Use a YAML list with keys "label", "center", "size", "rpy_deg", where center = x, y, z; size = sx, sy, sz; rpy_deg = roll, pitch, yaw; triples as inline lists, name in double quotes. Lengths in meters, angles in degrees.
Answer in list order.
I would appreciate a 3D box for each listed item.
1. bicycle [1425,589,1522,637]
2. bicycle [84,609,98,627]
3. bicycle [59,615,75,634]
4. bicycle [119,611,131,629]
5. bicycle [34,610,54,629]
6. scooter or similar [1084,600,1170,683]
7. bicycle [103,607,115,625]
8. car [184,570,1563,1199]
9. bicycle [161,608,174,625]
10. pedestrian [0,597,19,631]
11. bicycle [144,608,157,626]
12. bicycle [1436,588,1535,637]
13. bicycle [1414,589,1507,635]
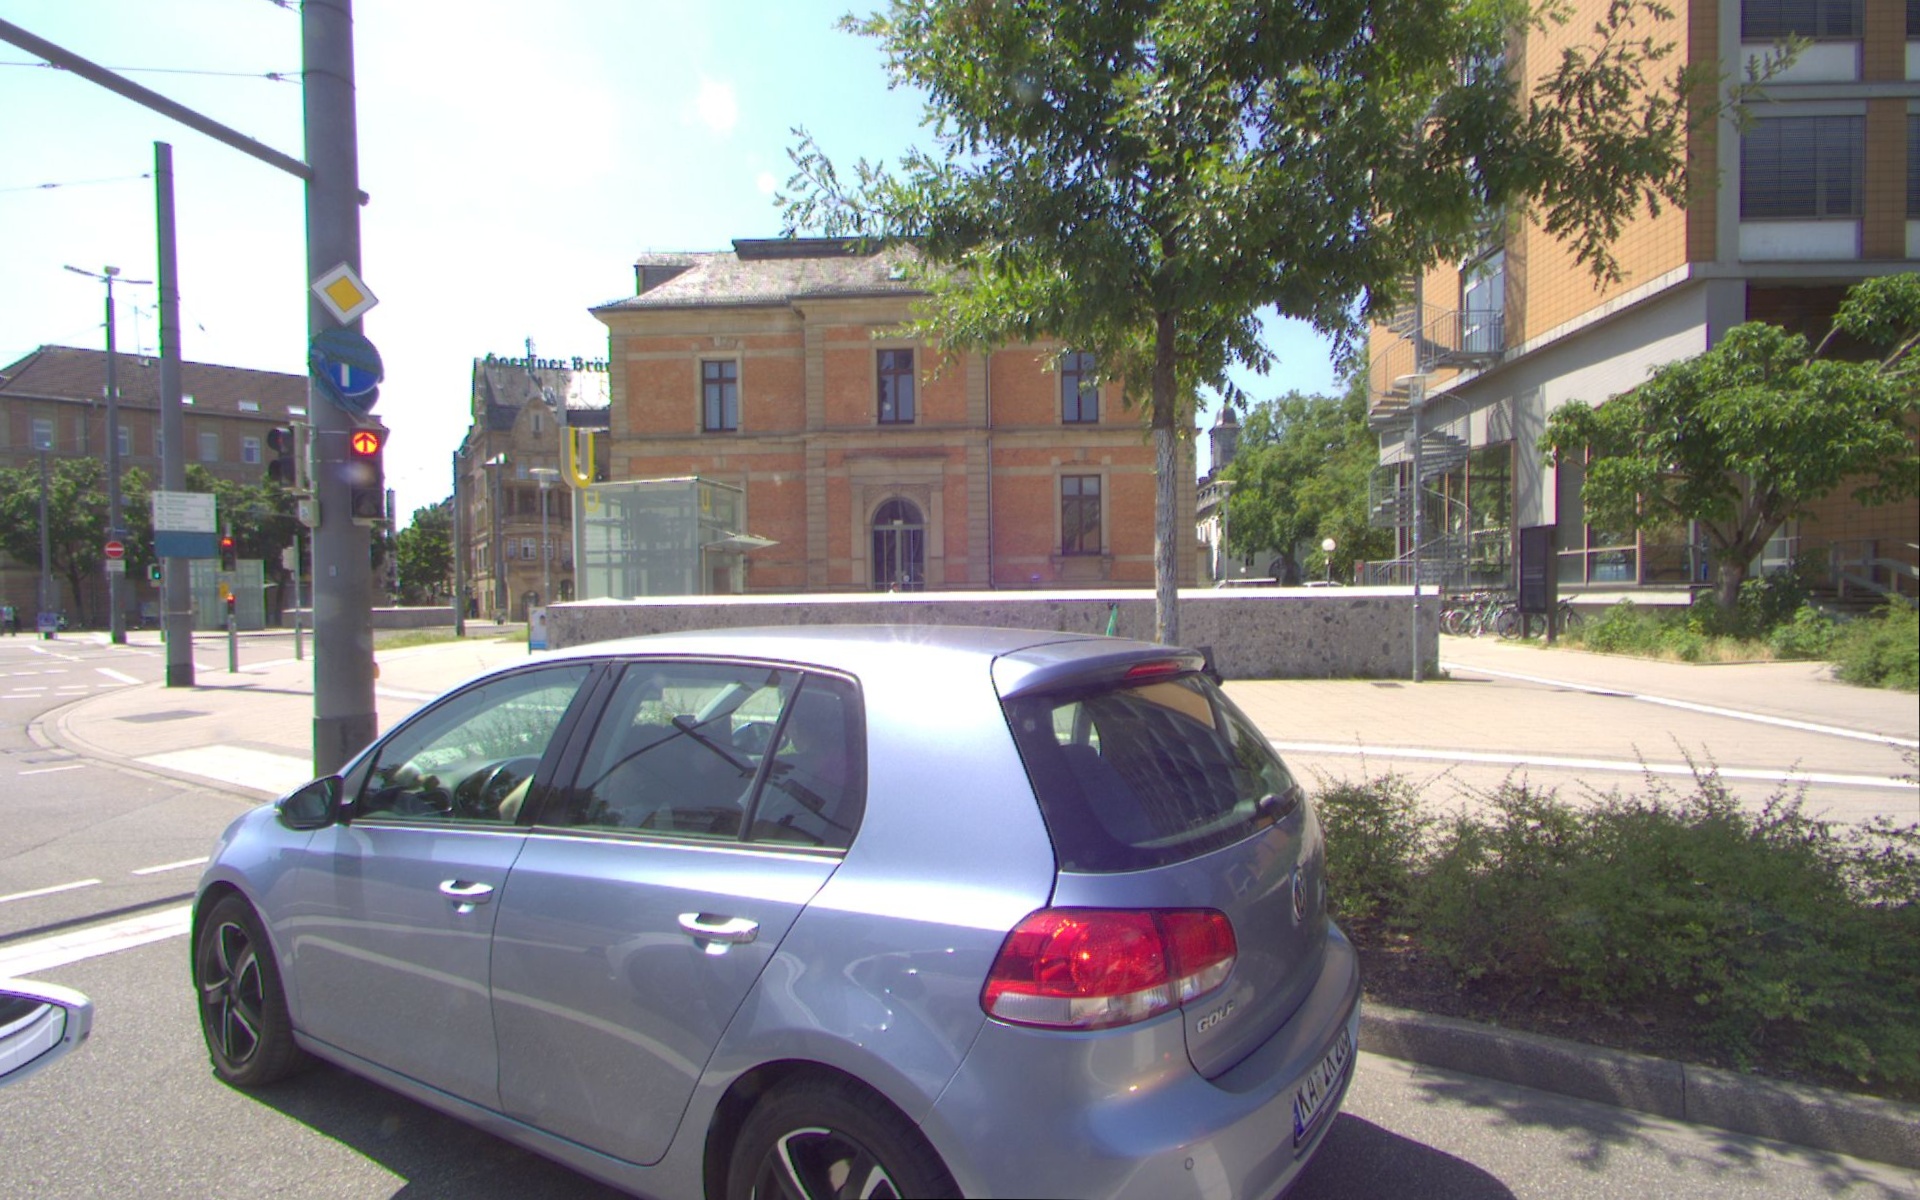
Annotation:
- label: "bicycle"
  center: [13.546, 0.356, 26.462]
  size: [2.175, 1.234, 0.637]
  rpy_deg: [0, -1, 5]
- label: "bicycle"
  center: [-54.127, 1.118, 62.387]
  size: [0.547, 1.135, 1.802]
  rpy_deg: [-1, 1, -44]
- label: "bicycle"
  center: [-55.149, 1.507, 61.846]
  size: [2.069, 1.160, 0.440]
  rpy_deg: [-2, -2, 39]
- label: "bicycle"
  center: [-52.955, 1.258, 63.510]
  size: [0.547, 1.135, 1.872]
  rpy_deg: [-1, 1, -41]
- label: "bicycle"
  center: [-55.399, 1.148, 60.557]
  size: [1.796, 1.135, 0.549]
  rpy_deg: [0, 1, 37]
- label: "scooter or similar"
  center: [2.466, 0.601, 14.756]
  size: [1.227, 1.186, 0.458]
  rpy_deg: [0, 1, 13]
- label: "bicycle"
  center: [-53.496, 1.002, 62.916]
  size: [0.547, 1.135, 1.804]
  rpy_deg: [-1, 1, -41]
- label: "car"
  center: [-0.531, 0.739, 2.985]
  size: [3.948, 1.478, 1.648]
  rpy_deg: [0, -1, 34]
- label: "bicycle"
  center: [-52.005, 1.064, 65.688]
  size: [0.547, 1.135, 1.912]
  rpy_deg: [-1, 1, -41]
- label: "pedestrian"
  center: [-49.404, 0.714, 52.010]
  size: [0.627, 1.731, 0.462]
  rpy_deg: [0, 1, 8]
- label: "bicycle"
  center: [-52.484, 1.068, 64.912]
  size: [0.547, 1.135, 1.854]
  rpy_deg: [-1, 1, -41]
- label: "bicycle"
  center: [13.458, 0.339, 25.687]
  size: [2.175, 1.234, 0.637]
  rpy_deg: [0, -1, 5]
- label: "bicycle"
  center: [13.607, 0.336, 27.278]
  size: [2.175, 1.234, 0.637]
  rpy_deg: [0, -1, 5]
